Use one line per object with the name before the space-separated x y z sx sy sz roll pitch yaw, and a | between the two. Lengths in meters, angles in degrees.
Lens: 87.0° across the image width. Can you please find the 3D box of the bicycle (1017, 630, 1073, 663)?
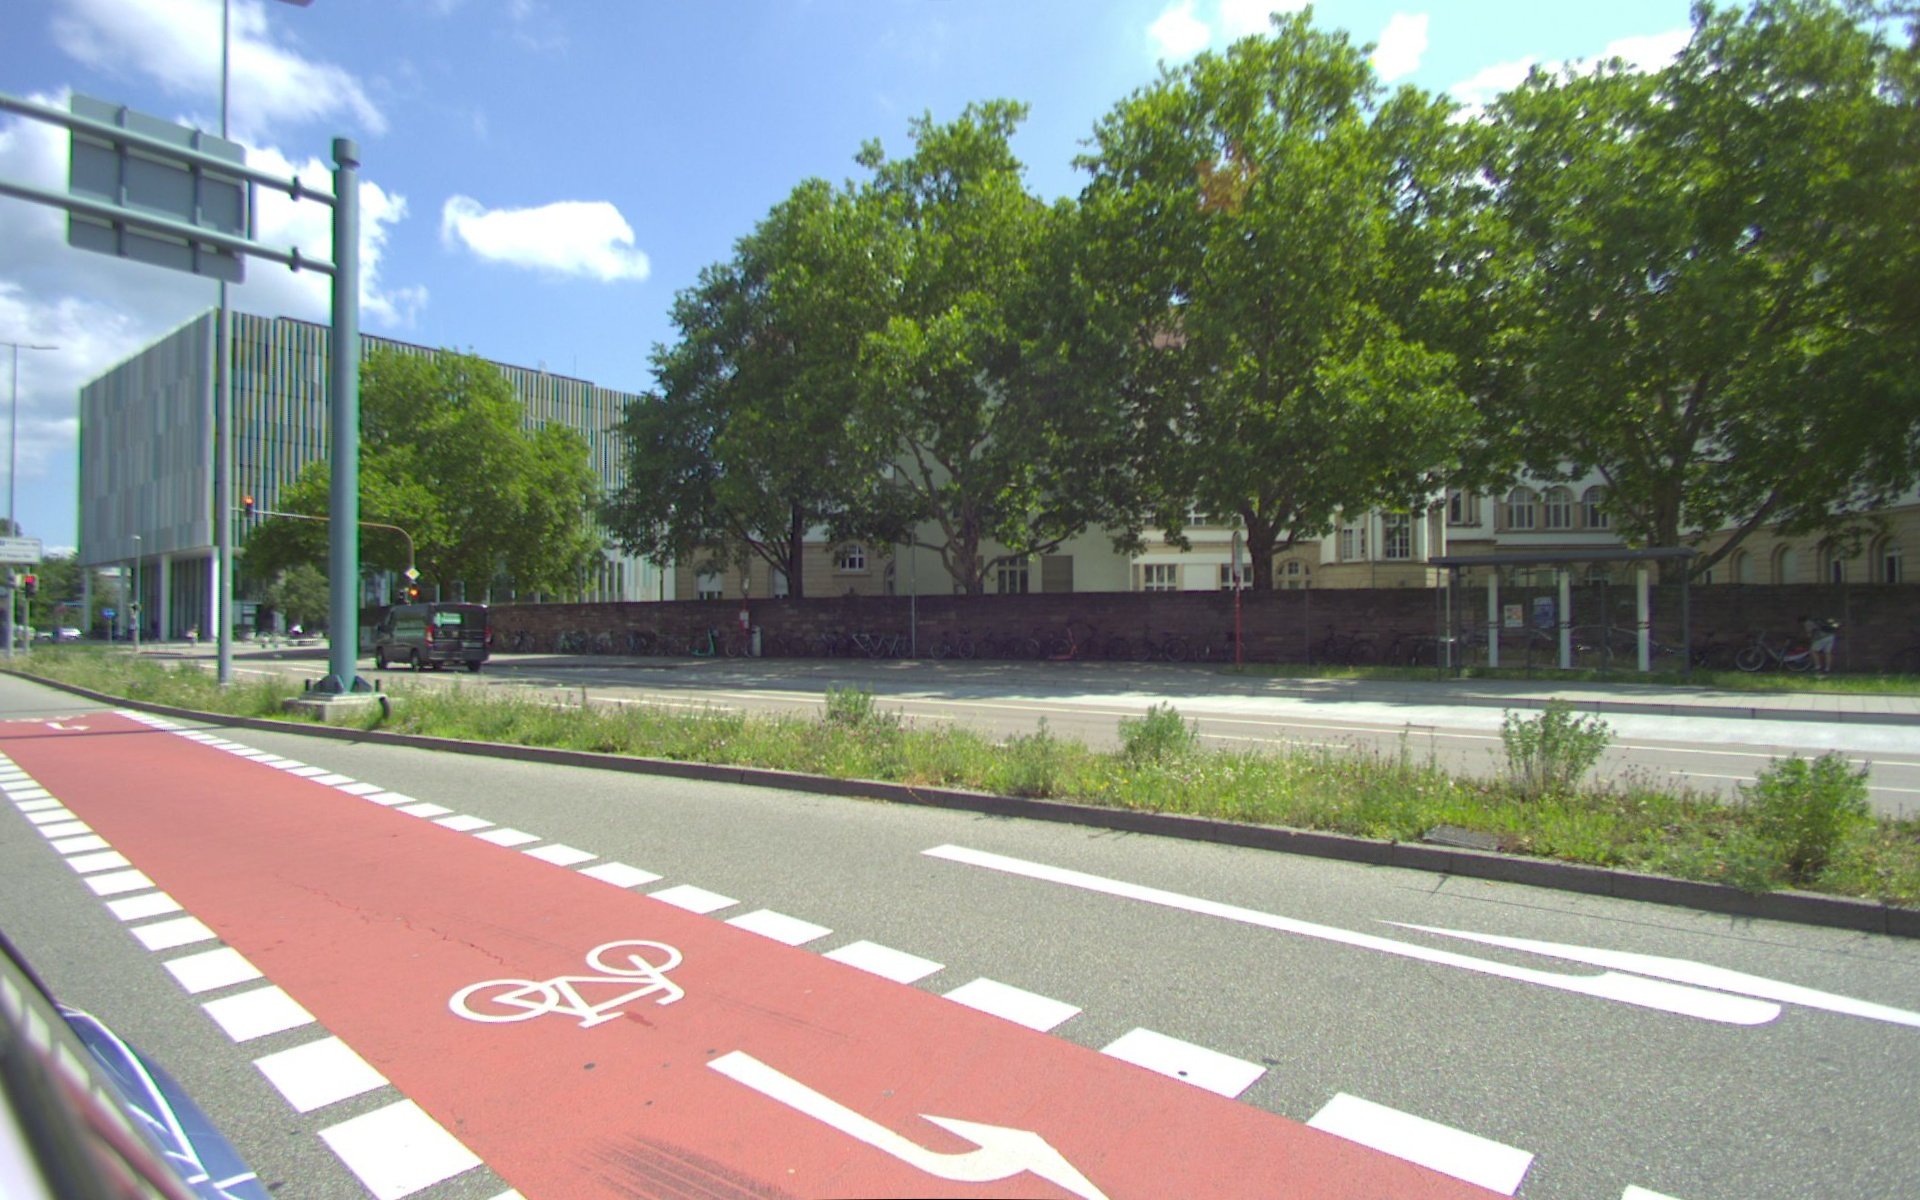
bicycle | 2.743 1.503 32.730 1.752 1.051 0.394 -1 -2 26

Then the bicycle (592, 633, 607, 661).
bicycle | -15.271 1.976 42.832 0.376 1.116 1.675 0 -2 -28

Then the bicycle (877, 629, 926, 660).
bicycle | -2.039 1.553 35.186 1.753 1.051 0.394 -1 -2 27

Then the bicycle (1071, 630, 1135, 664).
bicycle | 4.494 1.464 31.888 1.946 1.051 0.395 -1 -2 25

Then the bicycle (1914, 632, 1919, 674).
bicycle | 24.359 1.287 24.596 1.671 1.038 0.396 -1 -2 15

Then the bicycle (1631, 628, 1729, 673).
bicycle | 18.714 1.312 26.342 2.022 1.146 0.396 -1 -2 18

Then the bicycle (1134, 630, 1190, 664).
bicycle | 6.215 1.439 31.159 1.629 1.051 0.395 -1 -2 22

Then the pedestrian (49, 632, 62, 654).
pedestrian | -80.258 3.821 89.812 0.806 1.931 0.706 -1 0 36

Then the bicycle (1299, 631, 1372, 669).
bicycle | 10.795 1.431 29.137 1.945 1.051 0.395 -1 -2 22

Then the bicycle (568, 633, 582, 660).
bicycle | -16.641 1.997 43.718 0.376 1.116 1.675 0 -2 -28

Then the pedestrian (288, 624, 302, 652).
pedestrian | -45.894 2.613 69.812 0.718 1.932 0.624 -1 0 38

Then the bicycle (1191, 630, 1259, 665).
bicycle | 7.962 1.423 30.430 1.945 1.051 0.395 -1 -2 22

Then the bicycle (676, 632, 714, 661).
bicycle | -10.486 1.837 40.026 1.663 1.116 0.379 -1 -2 29

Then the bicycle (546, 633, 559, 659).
bicycle | -17.820 2.012 44.268 0.376 1.116 1.675 0 -2 -28

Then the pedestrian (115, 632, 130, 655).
pedestrian | -71.819 3.711 86.802 0.806 1.931 0.816 -1 0 36

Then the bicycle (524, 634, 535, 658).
bicycle | -19.410 2.067 45.607 0.324 1.025 1.675 1 -2 -28

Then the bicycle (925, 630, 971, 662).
bicycle | -0.408 1.560 34.352 1.576 1.051 0.394 -1 -2 27

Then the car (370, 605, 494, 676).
car | -17.582 1.338 33.636 4.519 2.188 2.185 -2 -4 42

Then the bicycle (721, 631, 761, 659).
bicycle | -8.336 1.697 38.560 1.663 1.051 0.379 -1 -2 29

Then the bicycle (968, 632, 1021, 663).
bicycle | 1.126 1.568 33.552 1.753 1.011 0.394 -1 -2 27

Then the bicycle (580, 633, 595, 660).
bicycle | -15.928 1.984 43.228 0.376 1.116 1.675 0 -2 -28

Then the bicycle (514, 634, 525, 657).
bicycle | -20.015 2.068 45.997 0.324 1.025 1.675 1 -2 -28

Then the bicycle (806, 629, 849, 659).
bicycle | -4.820 1.593 36.688 1.663 1.051 0.379 -1 -2 29

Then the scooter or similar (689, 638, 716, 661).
scooter or similar | -9.876 1.905 38.840 1.065 0.850 0.350 -1 -2 29

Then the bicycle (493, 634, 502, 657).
bicycle | -21.433 2.084 46.891 0.324 1.025 1.675 1 -2 -28

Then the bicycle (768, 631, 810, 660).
bicycle | -6.355 1.673 37.564 1.663 1.051 0.379 -1 -2 29

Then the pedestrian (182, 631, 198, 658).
pedestrian | -55.235 3.196 72.601 0.806 1.931 0.706 -1 0 36

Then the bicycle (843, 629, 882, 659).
bicycle | -3.456 1.572 35.929 1.409 1.051 0.374 -1 -2 27

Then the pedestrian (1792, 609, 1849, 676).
pedestrian | 21.272 1.043 25.028 0.773 1.623 0.720 -1 -2 12

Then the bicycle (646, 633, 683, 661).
bicycle | -11.947 1.900 40.887 1.664 1.116 0.379 -1 -2 31

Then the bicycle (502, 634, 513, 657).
bicycle | -20.798 2.076 46.509 0.324 1.025 1.675 1 -2 -28

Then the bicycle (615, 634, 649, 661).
bicycle | -13.632 1.966 42.012 1.665 1.116 0.378 -1 -2 32

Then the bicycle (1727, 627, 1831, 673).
bicycle | 20.797 1.252 25.720 2.022 1.146 0.396 -1 -2 18

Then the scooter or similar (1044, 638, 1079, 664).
scooter or similar | 3.186 1.596 31.805 1.060 0.800 0.351 -1 -2 17

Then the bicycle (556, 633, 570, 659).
bicycle | -17.323 2.006 44.175 0.376 1.116 1.675 0 -2 -28

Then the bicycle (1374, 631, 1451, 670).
bicycle | 12.655 1.402 28.345 1.945 1.051 0.395 -1 -2 22
